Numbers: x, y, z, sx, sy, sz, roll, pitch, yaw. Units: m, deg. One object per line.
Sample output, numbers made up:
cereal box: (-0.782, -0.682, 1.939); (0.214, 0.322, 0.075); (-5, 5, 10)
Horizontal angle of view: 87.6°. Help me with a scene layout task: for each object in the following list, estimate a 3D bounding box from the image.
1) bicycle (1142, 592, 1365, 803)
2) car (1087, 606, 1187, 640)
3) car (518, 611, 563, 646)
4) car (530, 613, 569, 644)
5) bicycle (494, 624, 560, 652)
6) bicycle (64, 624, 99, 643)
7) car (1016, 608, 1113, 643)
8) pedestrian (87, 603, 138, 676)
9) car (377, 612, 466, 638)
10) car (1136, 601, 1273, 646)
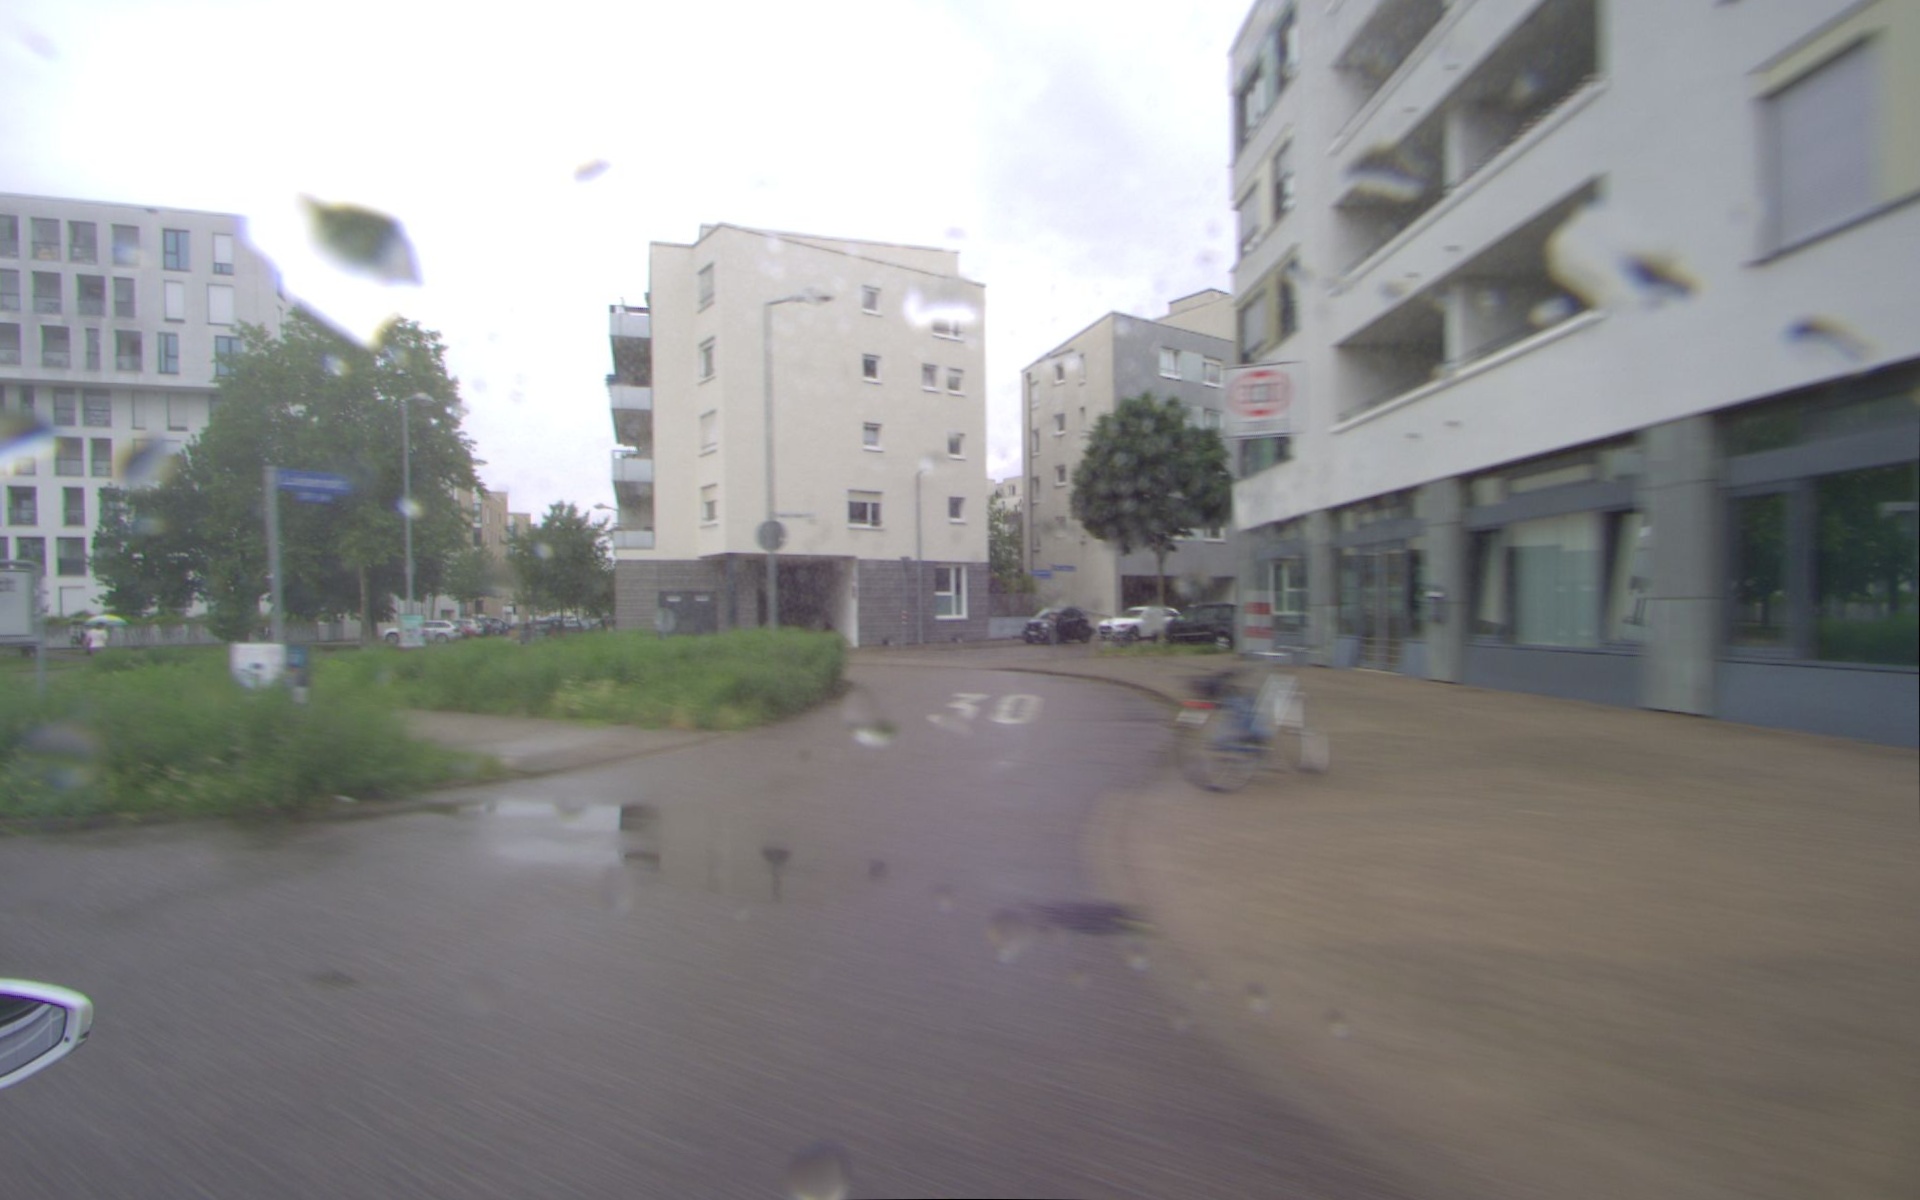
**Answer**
bicycle: (2.481, 0.720, 8.309); (2.168, 1.543, 0.625); (-1, 1, -38)
car: (7.988, 0.997, 44.938); (4.412, 1.450, 1.985); (0, -1, -37)
car: (-19.922, 1.396, 47.643); (1.705, 1.568, 4.114); (0, -2, -19)
car: (-22.036, 1.496, 53.913); (1.705, 1.568, 3.991); (0, -1, -19)
bicycle: (-17.922, 1.551, 41.507); (2.441, 1.102, 0.724); (0, 0, -17)
bicycle: (-49.305, 1.860, 56.240); (0.712, 1.046, 2.069); (-1, -1, -18)
car: (4.441, 1.060, 42.393); (3.778, 1.434, 1.986); (0, -1, -36)
pedestrian: (-23.929, 1.101, 28.282); (0.613, 2.040, 0.963); (0, 0, 32)
car: (-34.316, 1.590, 63.911); (4.752, 1.526, 1.622); (2, -1, -18)
car: (8.280, 0.789, 34.232); (1.791, 1.451, 4.493); (0, -1, -35)
